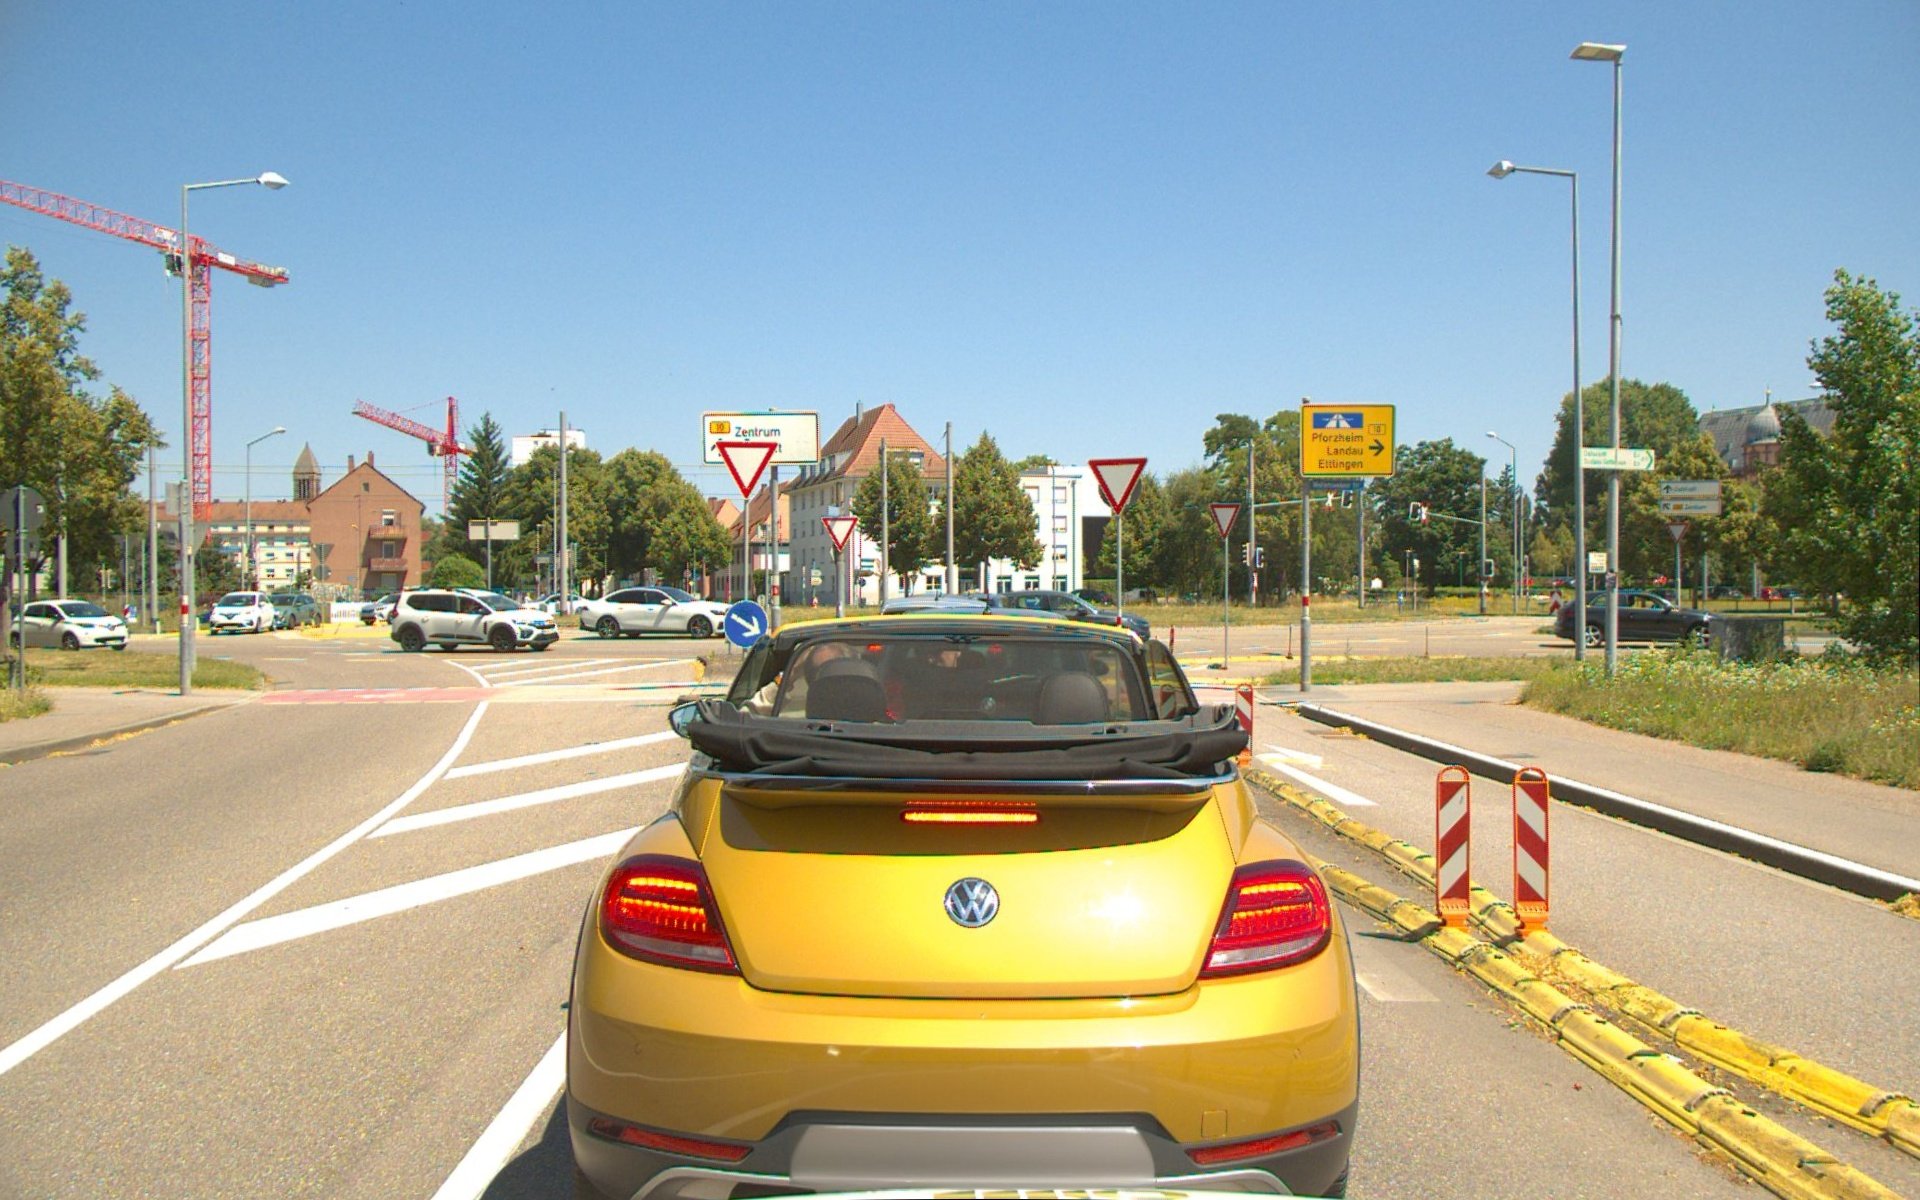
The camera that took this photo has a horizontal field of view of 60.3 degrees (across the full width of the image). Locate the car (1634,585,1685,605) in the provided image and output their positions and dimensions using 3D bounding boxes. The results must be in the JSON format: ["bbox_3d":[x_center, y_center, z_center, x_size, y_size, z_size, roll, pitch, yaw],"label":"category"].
[{"bbox_3d":[63.856,-0.440,150.988,3.923,1.744,1.991,0,0,-17],"label":"car"}]

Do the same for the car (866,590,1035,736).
[{"bbox_3d":[-0.121,0.633,18.673,1.701,1.467,3.999,0,0,-1],"label":"car"}]

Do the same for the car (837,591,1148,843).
[{"bbox_3d":[0.164,0.682,11.663,1.810,1.467,3.999,0,0,-1],"label":"car"}]

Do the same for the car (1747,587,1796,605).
[{"bbox_3d":[76.426,-0.379,155.798,3.926,1.744,1.989,0,0,-19],"label":"car"}]

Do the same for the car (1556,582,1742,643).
[{"bbox_3d":[17.182,0.300,41.470,4.098,1.467,2.001,0,0,16],"label":"car"}]

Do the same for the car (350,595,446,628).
[{"bbox_3d":[-26.495,0.531,78.063,1.676,1.526,4.210,0,0,32],"label":"car"}]

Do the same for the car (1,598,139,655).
[{"bbox_3d":[-26.831,0.768,49.877,3.920,1.648,1.679,0,0,26],"label":"car"}]

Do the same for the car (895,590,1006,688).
[{"bbox_3d":[-0.177,0.597,27.473,1.701,1.503,3.999,0,0,-1],"label":"car"}]

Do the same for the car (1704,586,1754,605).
[{"bbox_3d":[71.258,-0.403,153.280,3.923,1.744,1.991,0,0,-17],"label":"car"}]

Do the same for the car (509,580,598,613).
[{"bbox_3d":[-23.366,-0.174,95.206,4.640,1.860,1.972,0,0,-40],"label":"car"}]

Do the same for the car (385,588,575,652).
[{"bbox_3d":[-12.529,0.498,43.202,4.481,1.593,2.000,0,0,21],"label":"car"}]

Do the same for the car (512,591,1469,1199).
[{"bbox_3d":[0.027,0.709,4.861,1.717,1.447,3.776,0,0,-1],"label":"car"}]

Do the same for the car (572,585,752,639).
[{"bbox_3d":[-8.867,0.346,49.287,4.884,1.536,2.002,0,0,13],"label":"car"}]

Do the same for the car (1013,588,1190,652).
[{"bbox_3d":[3.422,0.455,39.579,4.115,1.467,2.002,0,0,7],"label":"car"}]

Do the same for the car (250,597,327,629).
[{"bbox_3d":[-27.655,0.512,68.207,1.672,1.258,3.786,0,0,-1],"label":"car"}]

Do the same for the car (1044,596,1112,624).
[{"bbox_3d":[7.668,0.665,107.449,4.098,1.701,1.950,-1,0,15],"label":"car"}]

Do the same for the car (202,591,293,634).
[{"bbox_3d":[-26.957,0.453,62.710,1.720,1.576,3.999,0,0,-1],"label":"car"}]
